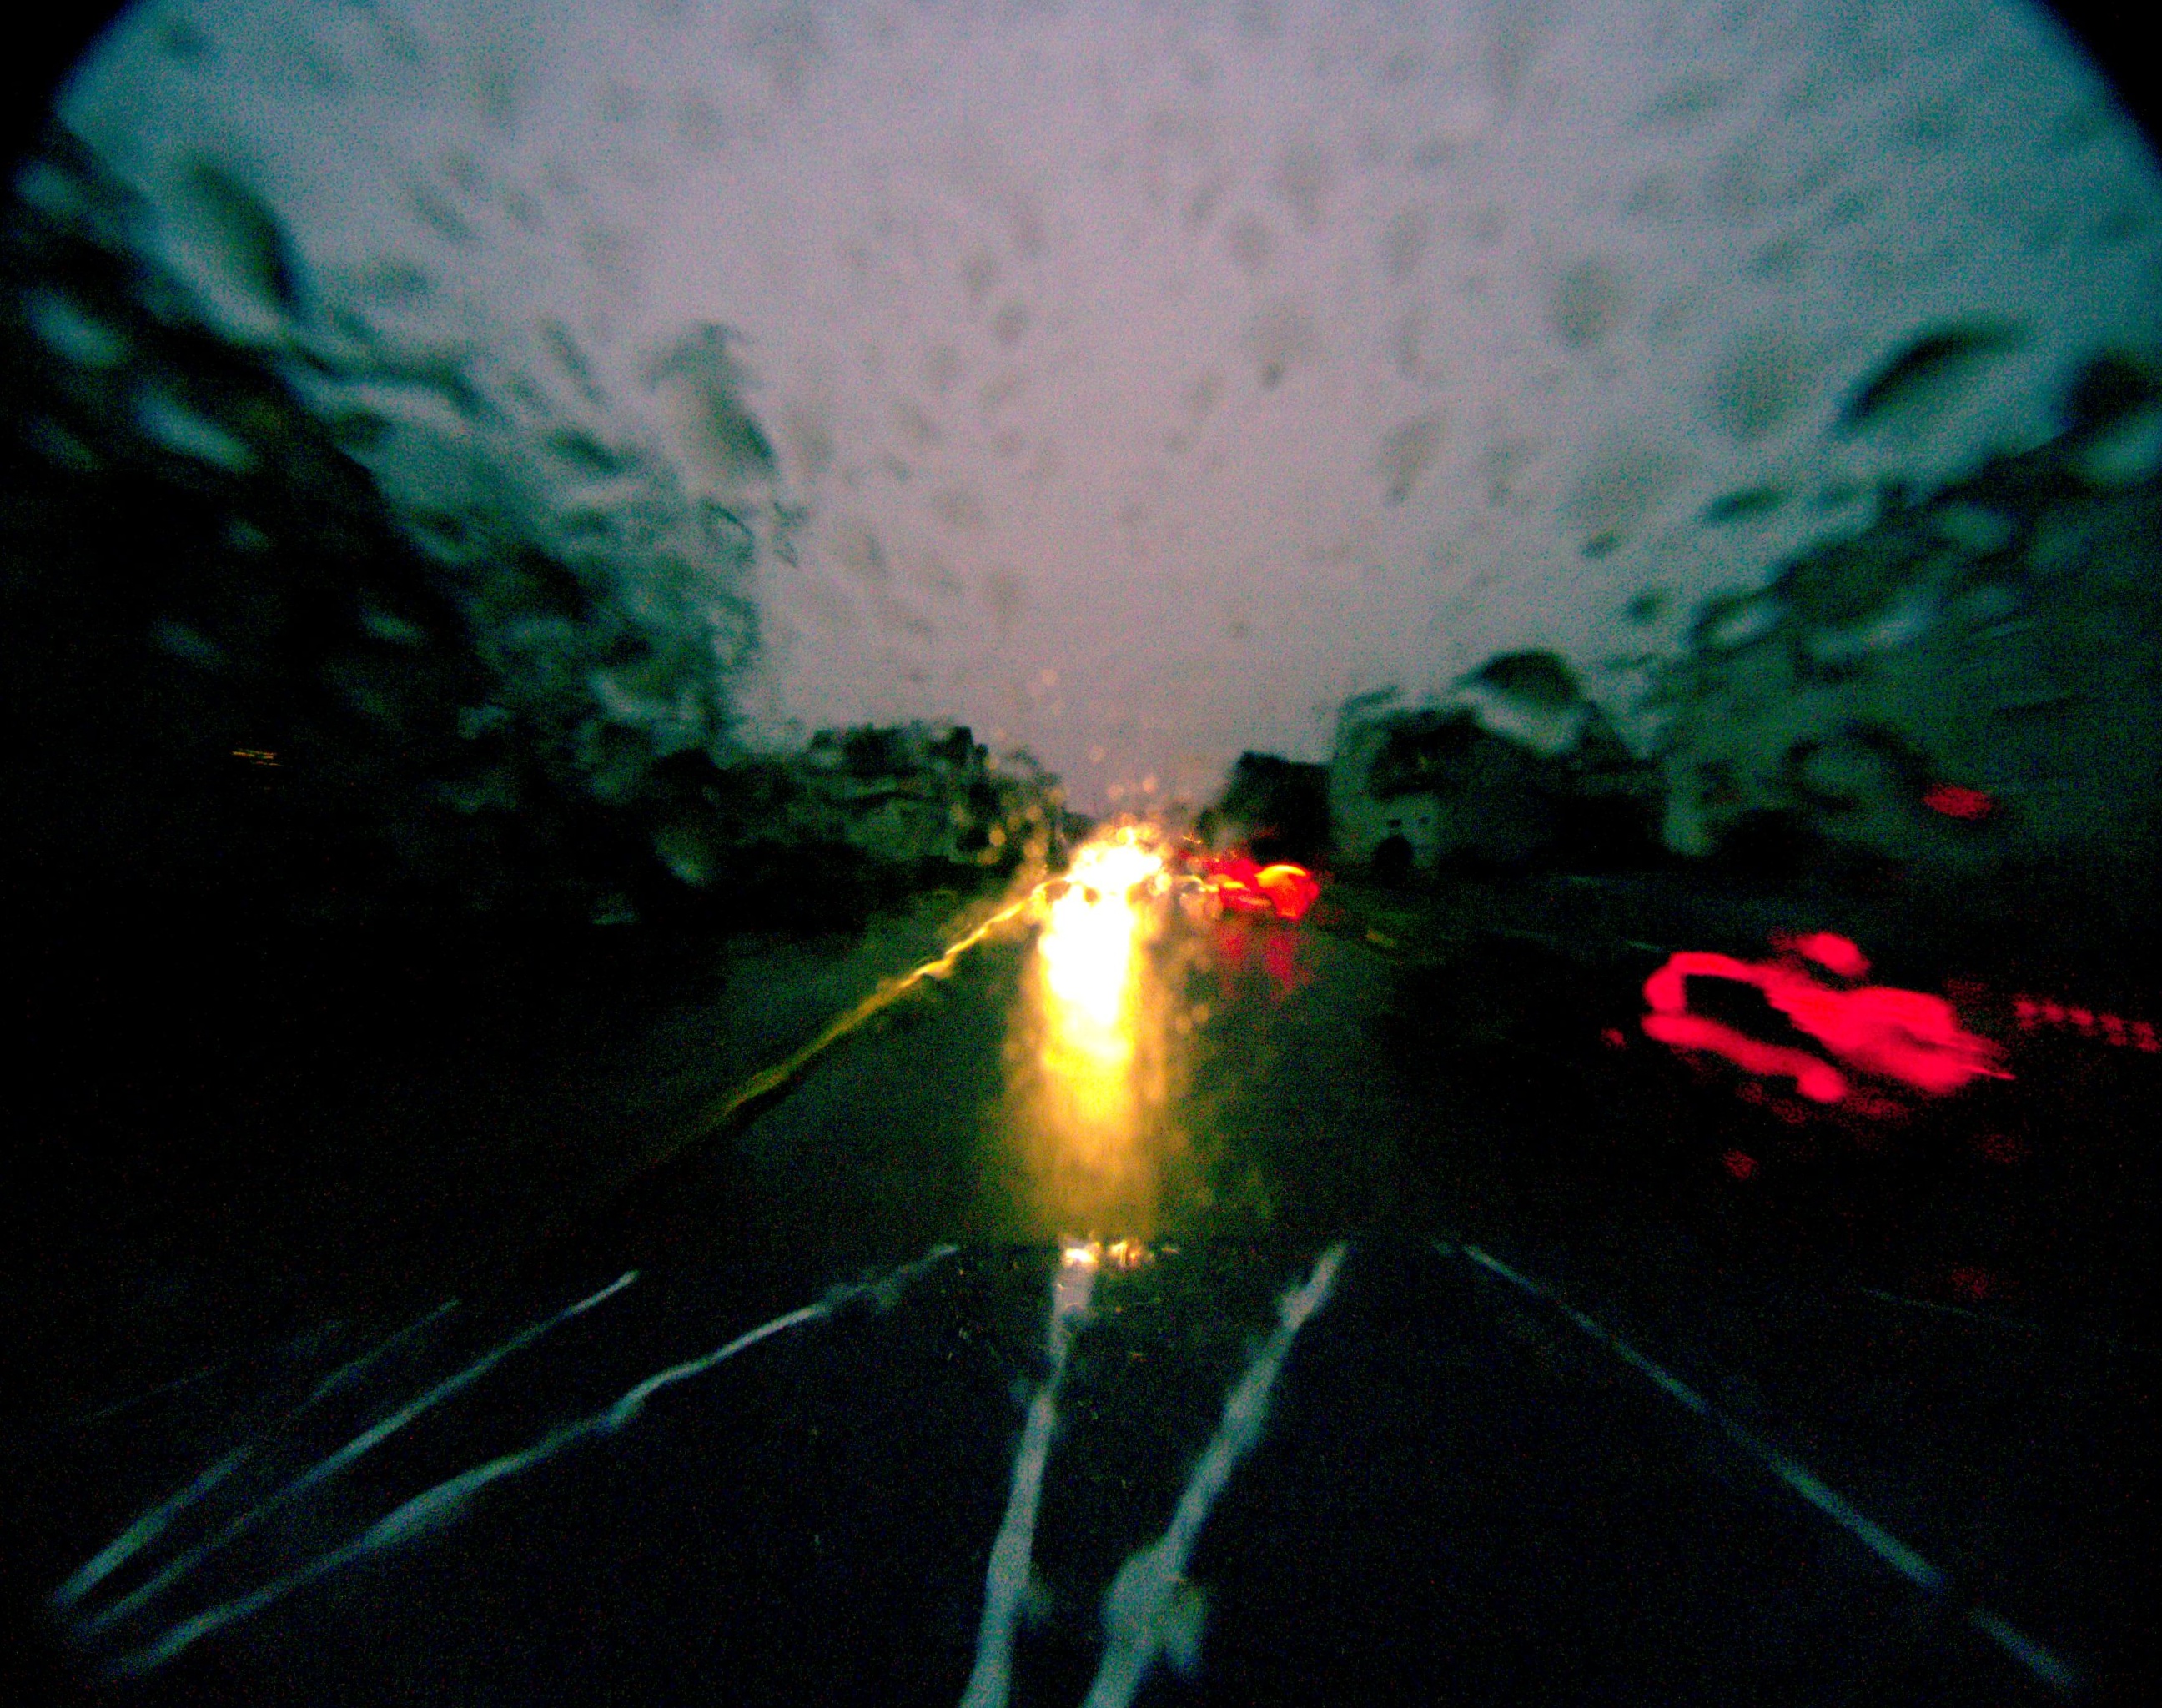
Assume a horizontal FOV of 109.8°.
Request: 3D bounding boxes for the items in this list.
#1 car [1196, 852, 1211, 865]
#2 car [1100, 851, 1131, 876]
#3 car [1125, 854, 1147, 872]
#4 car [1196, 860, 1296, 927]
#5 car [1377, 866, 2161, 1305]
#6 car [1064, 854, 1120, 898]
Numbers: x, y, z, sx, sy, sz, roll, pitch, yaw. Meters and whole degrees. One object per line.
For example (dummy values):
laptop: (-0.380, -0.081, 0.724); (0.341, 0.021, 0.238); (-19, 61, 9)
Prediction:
car: (17.842, 0.661, 110.645); (1.966, 1.688, 4.003); (-1, 1, 11)
car: (2.343, 0.633, 52.012); (1.998, 1.660, 4.001); (-1, 0, 3)
car: (5.528, 0.877, 76.514); (1.774, 1.608, 3.875); (-1, 1, 10)
car: (4.064, 0.914, 19.297); (1.708, 1.433, 4.000); (1, 0, 1)
car: (3.633, 0.858, 4.885); (1.708, 1.433, 4.424); (1, 0, 0)
car: (0.405, 0.772, 29.144); (1.998, 1.575, 4.000); (0, 0, 1)
